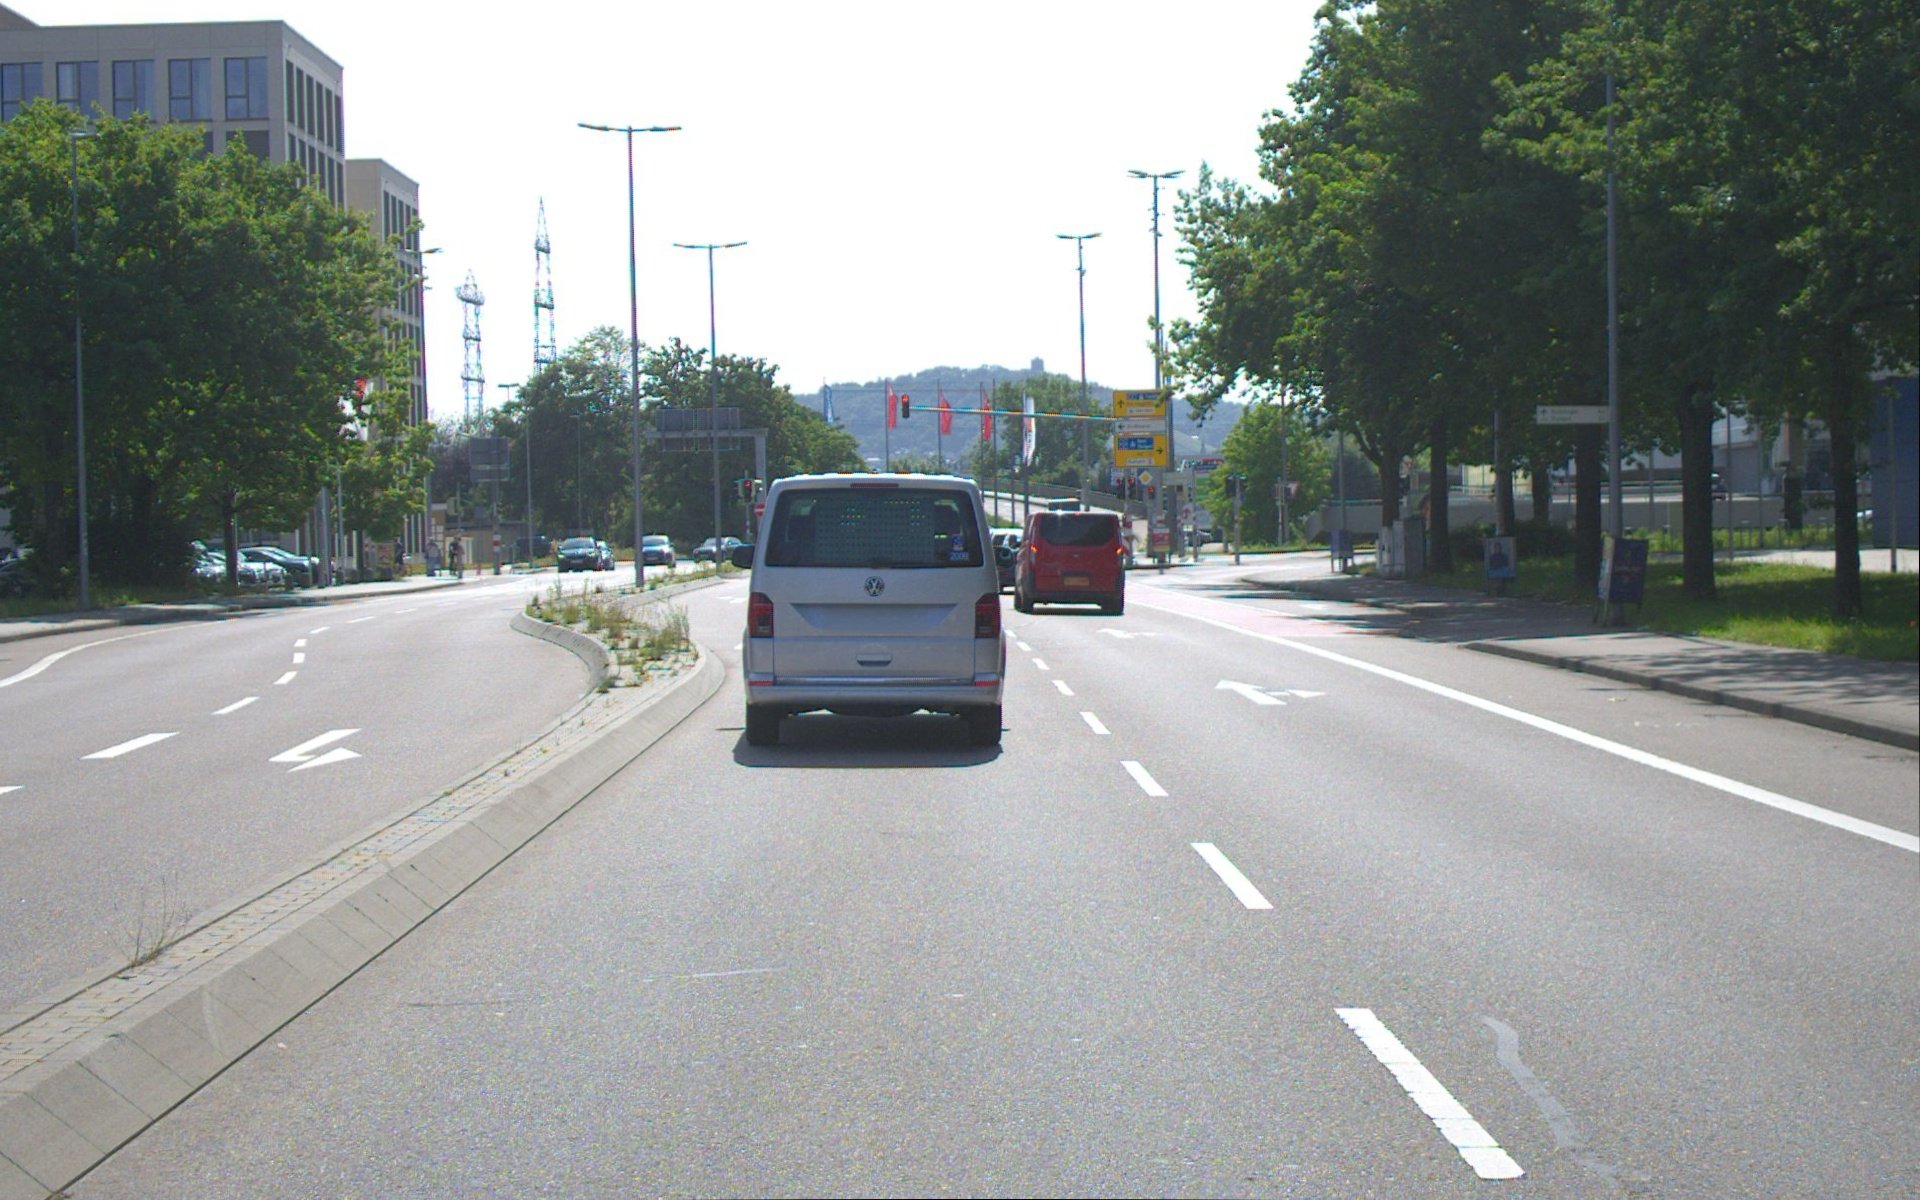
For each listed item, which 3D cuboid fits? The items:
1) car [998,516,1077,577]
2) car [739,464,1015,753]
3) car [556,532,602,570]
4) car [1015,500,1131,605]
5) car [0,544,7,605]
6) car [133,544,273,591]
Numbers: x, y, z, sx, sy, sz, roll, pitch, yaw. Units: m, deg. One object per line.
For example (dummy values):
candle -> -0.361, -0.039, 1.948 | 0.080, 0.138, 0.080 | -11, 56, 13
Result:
car -> 1.871, -1.324, 84.072 | 1.746, 1.453, 4.476 | 0, 1, -1
car -> -0.603, 0.013, 25.621 | 1.884, 1.983, 4.000 | 0, 1, -1
car -> -17.509, -2.274, 158.054 | 1.738, 1.613, 4.210 | -4, 1, -3
car -> 2.176, -0.957, 67.606 | 1.967, 1.961, 5.126 | 0, 1, -2
car -> -24.762, -0.424, 80.706 | 4.139, 1.437, 2.000 | -5, 1, 0
car -> -23.886, -1.033, 108.581 | 3.874, 1.162, 1.911 | -4, 2, 3
